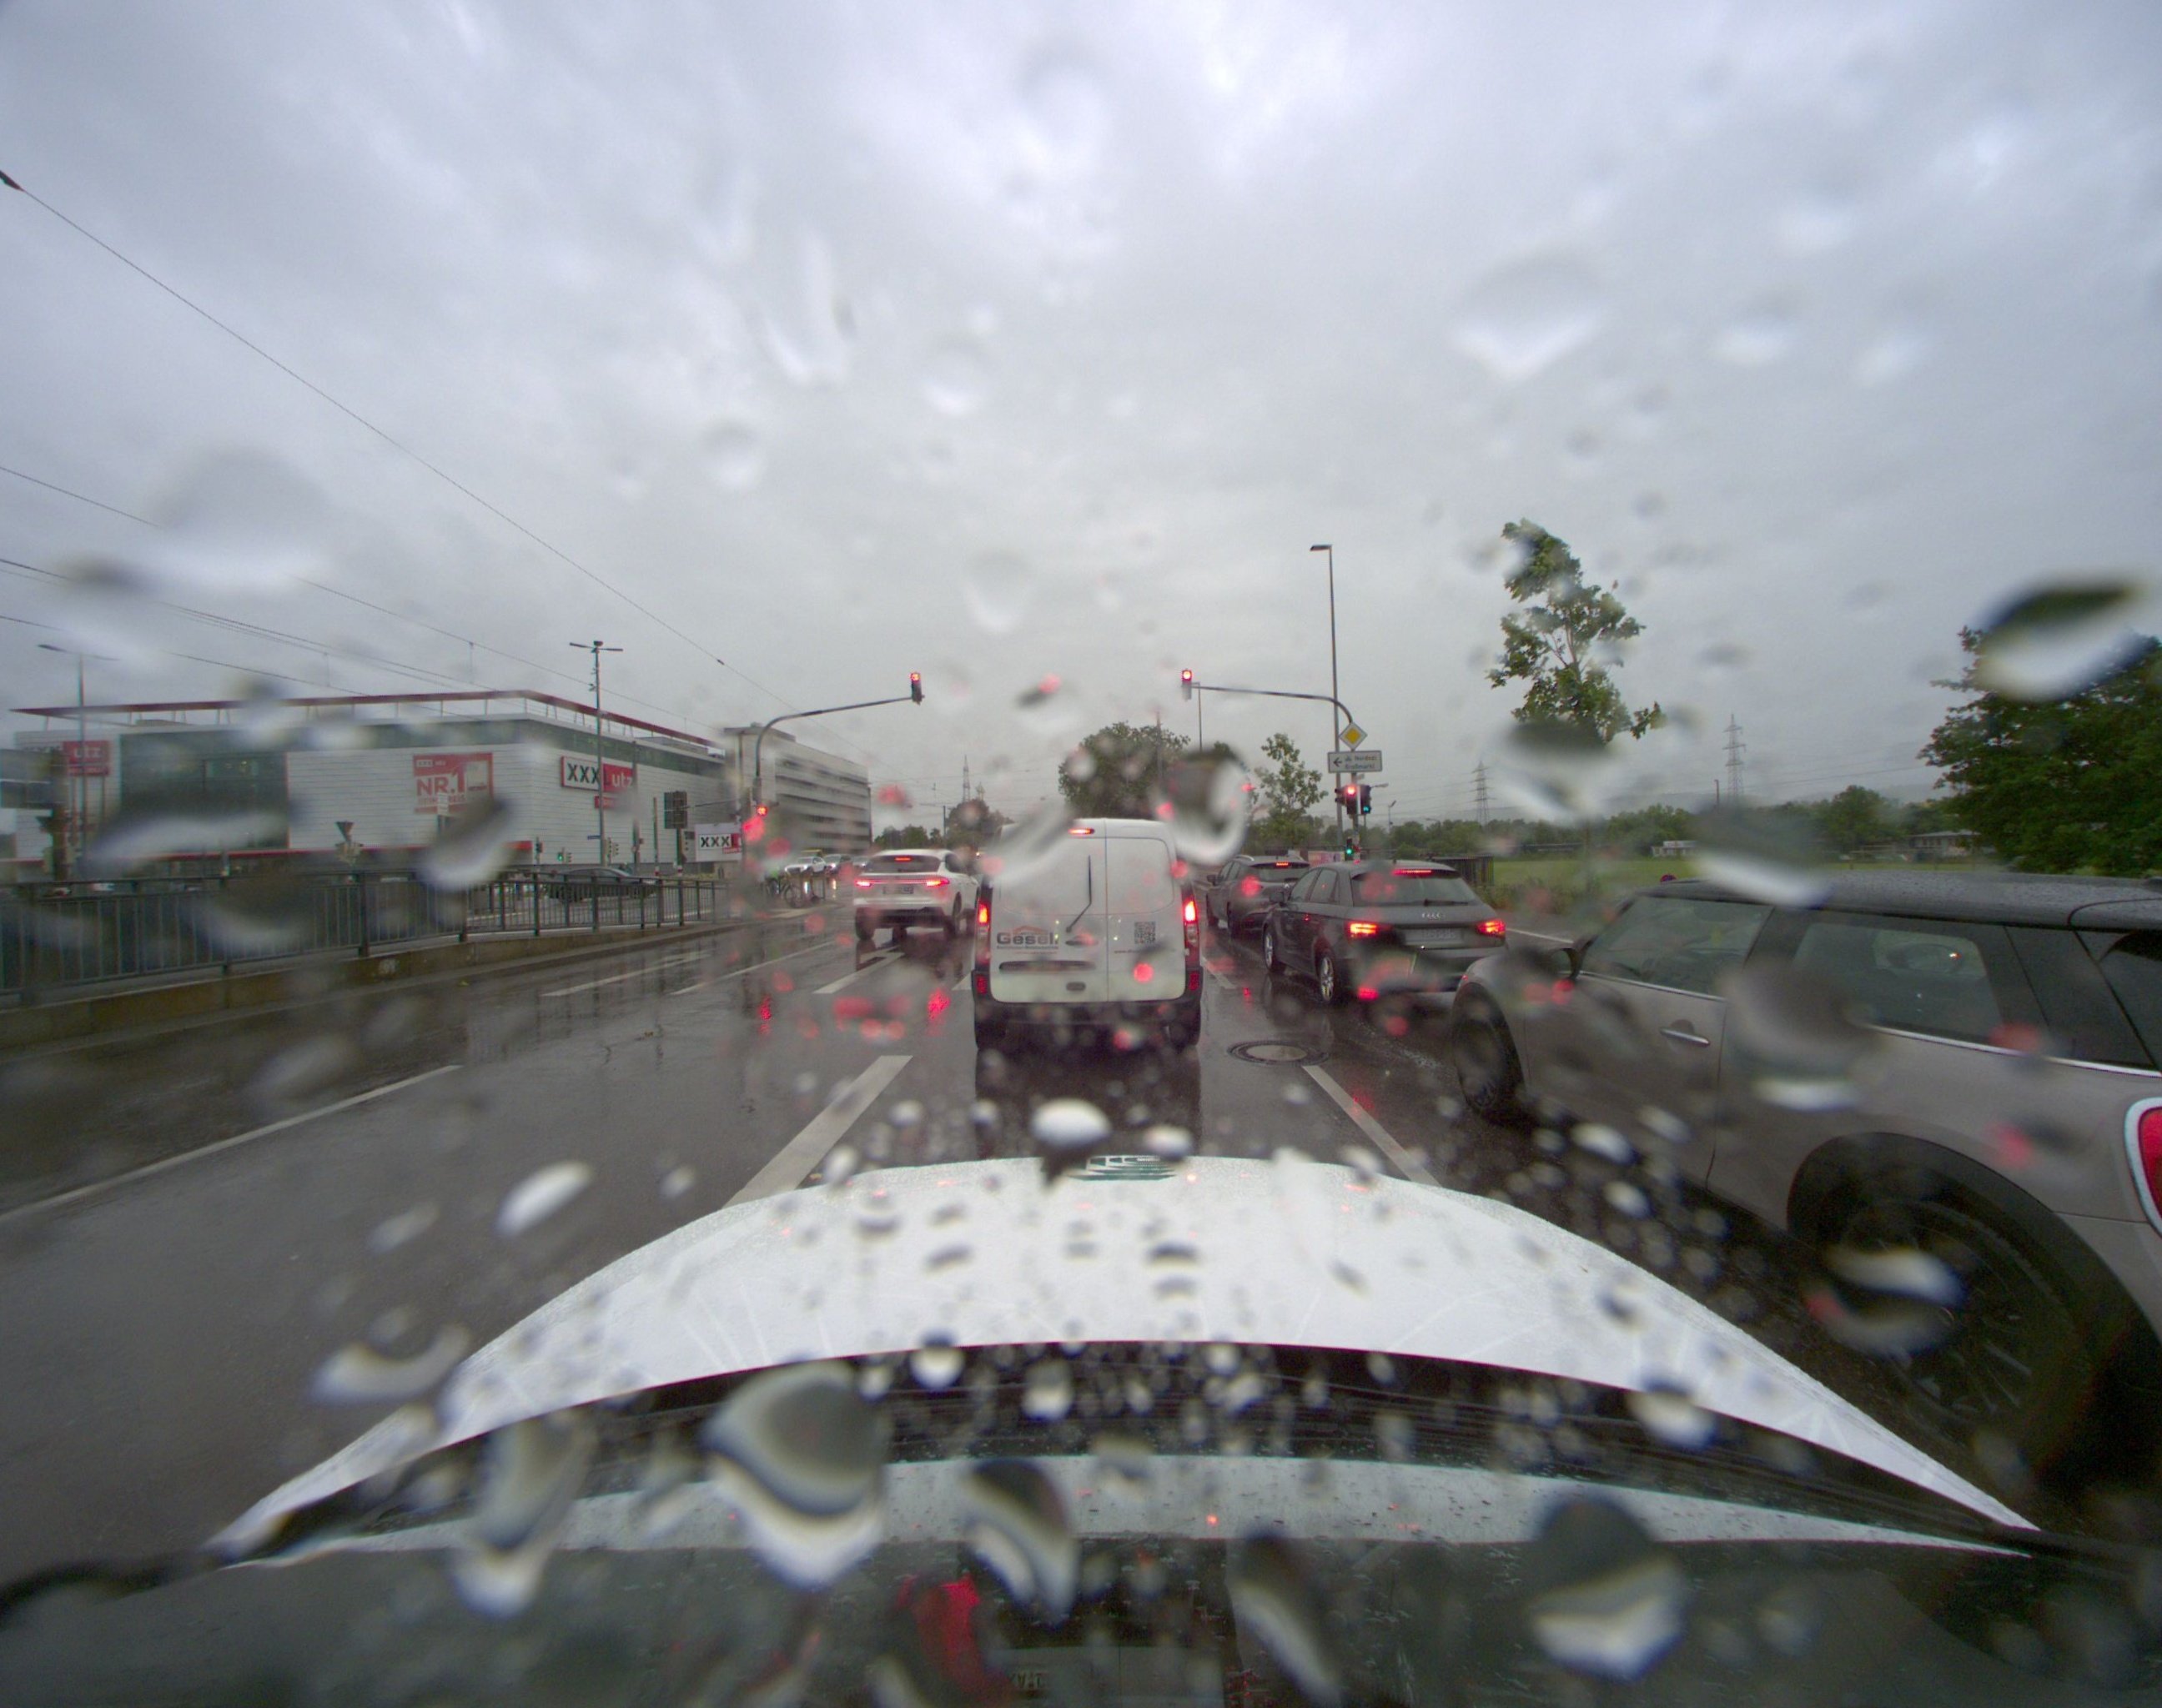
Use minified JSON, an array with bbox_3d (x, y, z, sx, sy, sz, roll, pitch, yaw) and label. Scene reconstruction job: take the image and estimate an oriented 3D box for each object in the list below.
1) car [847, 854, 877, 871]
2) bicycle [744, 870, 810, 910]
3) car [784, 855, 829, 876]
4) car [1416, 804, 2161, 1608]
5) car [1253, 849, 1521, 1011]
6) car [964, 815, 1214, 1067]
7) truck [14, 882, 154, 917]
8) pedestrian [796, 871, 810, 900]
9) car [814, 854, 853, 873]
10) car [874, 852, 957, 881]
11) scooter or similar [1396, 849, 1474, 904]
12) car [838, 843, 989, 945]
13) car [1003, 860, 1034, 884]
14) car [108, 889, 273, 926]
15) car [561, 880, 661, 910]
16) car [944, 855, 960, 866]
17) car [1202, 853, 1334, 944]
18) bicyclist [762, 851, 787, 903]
[{"bbox_3d":[-19.051,0.789,70.948,1.554,1.426,3.570,1,-1,2],"label":"car"},{"bbox_3d":[-8.925,1.046,23.958,1.756,1.137,0.517,0,-1,-14],"label":"bicycle"},{"bbox_3d":[-19.433,0.817,57.806,1.704,1.426,3.810,1,-1,2],"label":"car"},{"bbox_3d":[2.948,0.704,3.281,1.696,1.508,3.881,1,-1,2],"label":"car"},{"bbox_3d":[3.078,0.709,8.994,1.592,1.366,3.630,-2,-1,1],"label":"car"},{"bbox_3d":[0.010,0.585,7.833,1.749,1.750,4.166,-1,1,-2],"label":"car"},{"bbox_3d":[-60.279,2.724,49.304,5.859,1.942,2.012,1,-1,0],"label":"truck"},{"bbox_3d":[-8.828,0.991,25.869,0.314,0.897,0.380,1,0,-1],"label":"pedestrian"},{"bbox_3d":[-19.337,0.780,63.715,1.704,1.426,3.810,1,-1,2],"label":"car"},{"bbox_3d":[-8.784,0.656,43.484,1.629,1.428,4.279,1,-1,38],"label":"car"},{"bbox_3d":[8.521,0.501,19.761,0.687,1.211,3.022,-2,0,3],"label":"scooter or similar"},{"bbox_3d":[-3.164,0.704,16.432,1.923,1.775,4.665,0,0,2],"label":"car"},{"bbox_3d":[-4.242,1.206,55.501,1.628,1.522,3.777,2,0,2],"label":"car"},{"bbox_3d":[-35.091,2.096,32.223,4.063,1.376,1.596,1,-1,-20],"label":"car"},{"bbox_3d":[-19.913,1.742,34.666,3.542,1.207,1.428,1,-1,-26],"label":"car"},{"bbox_3d":[-17.907,0.918,113.406,1.554,1.426,3.570,1,-1,2],"label":"car"},{"bbox_3d":[3.405,0.750,15.497,1.678,1.508,3.921,0,0,1],"label":"car"},{"bbox_3d":[-9.030,0.667,23.974,0.604,1.491,0.597,0,-1,-13],"label":"bicyclist"}]
